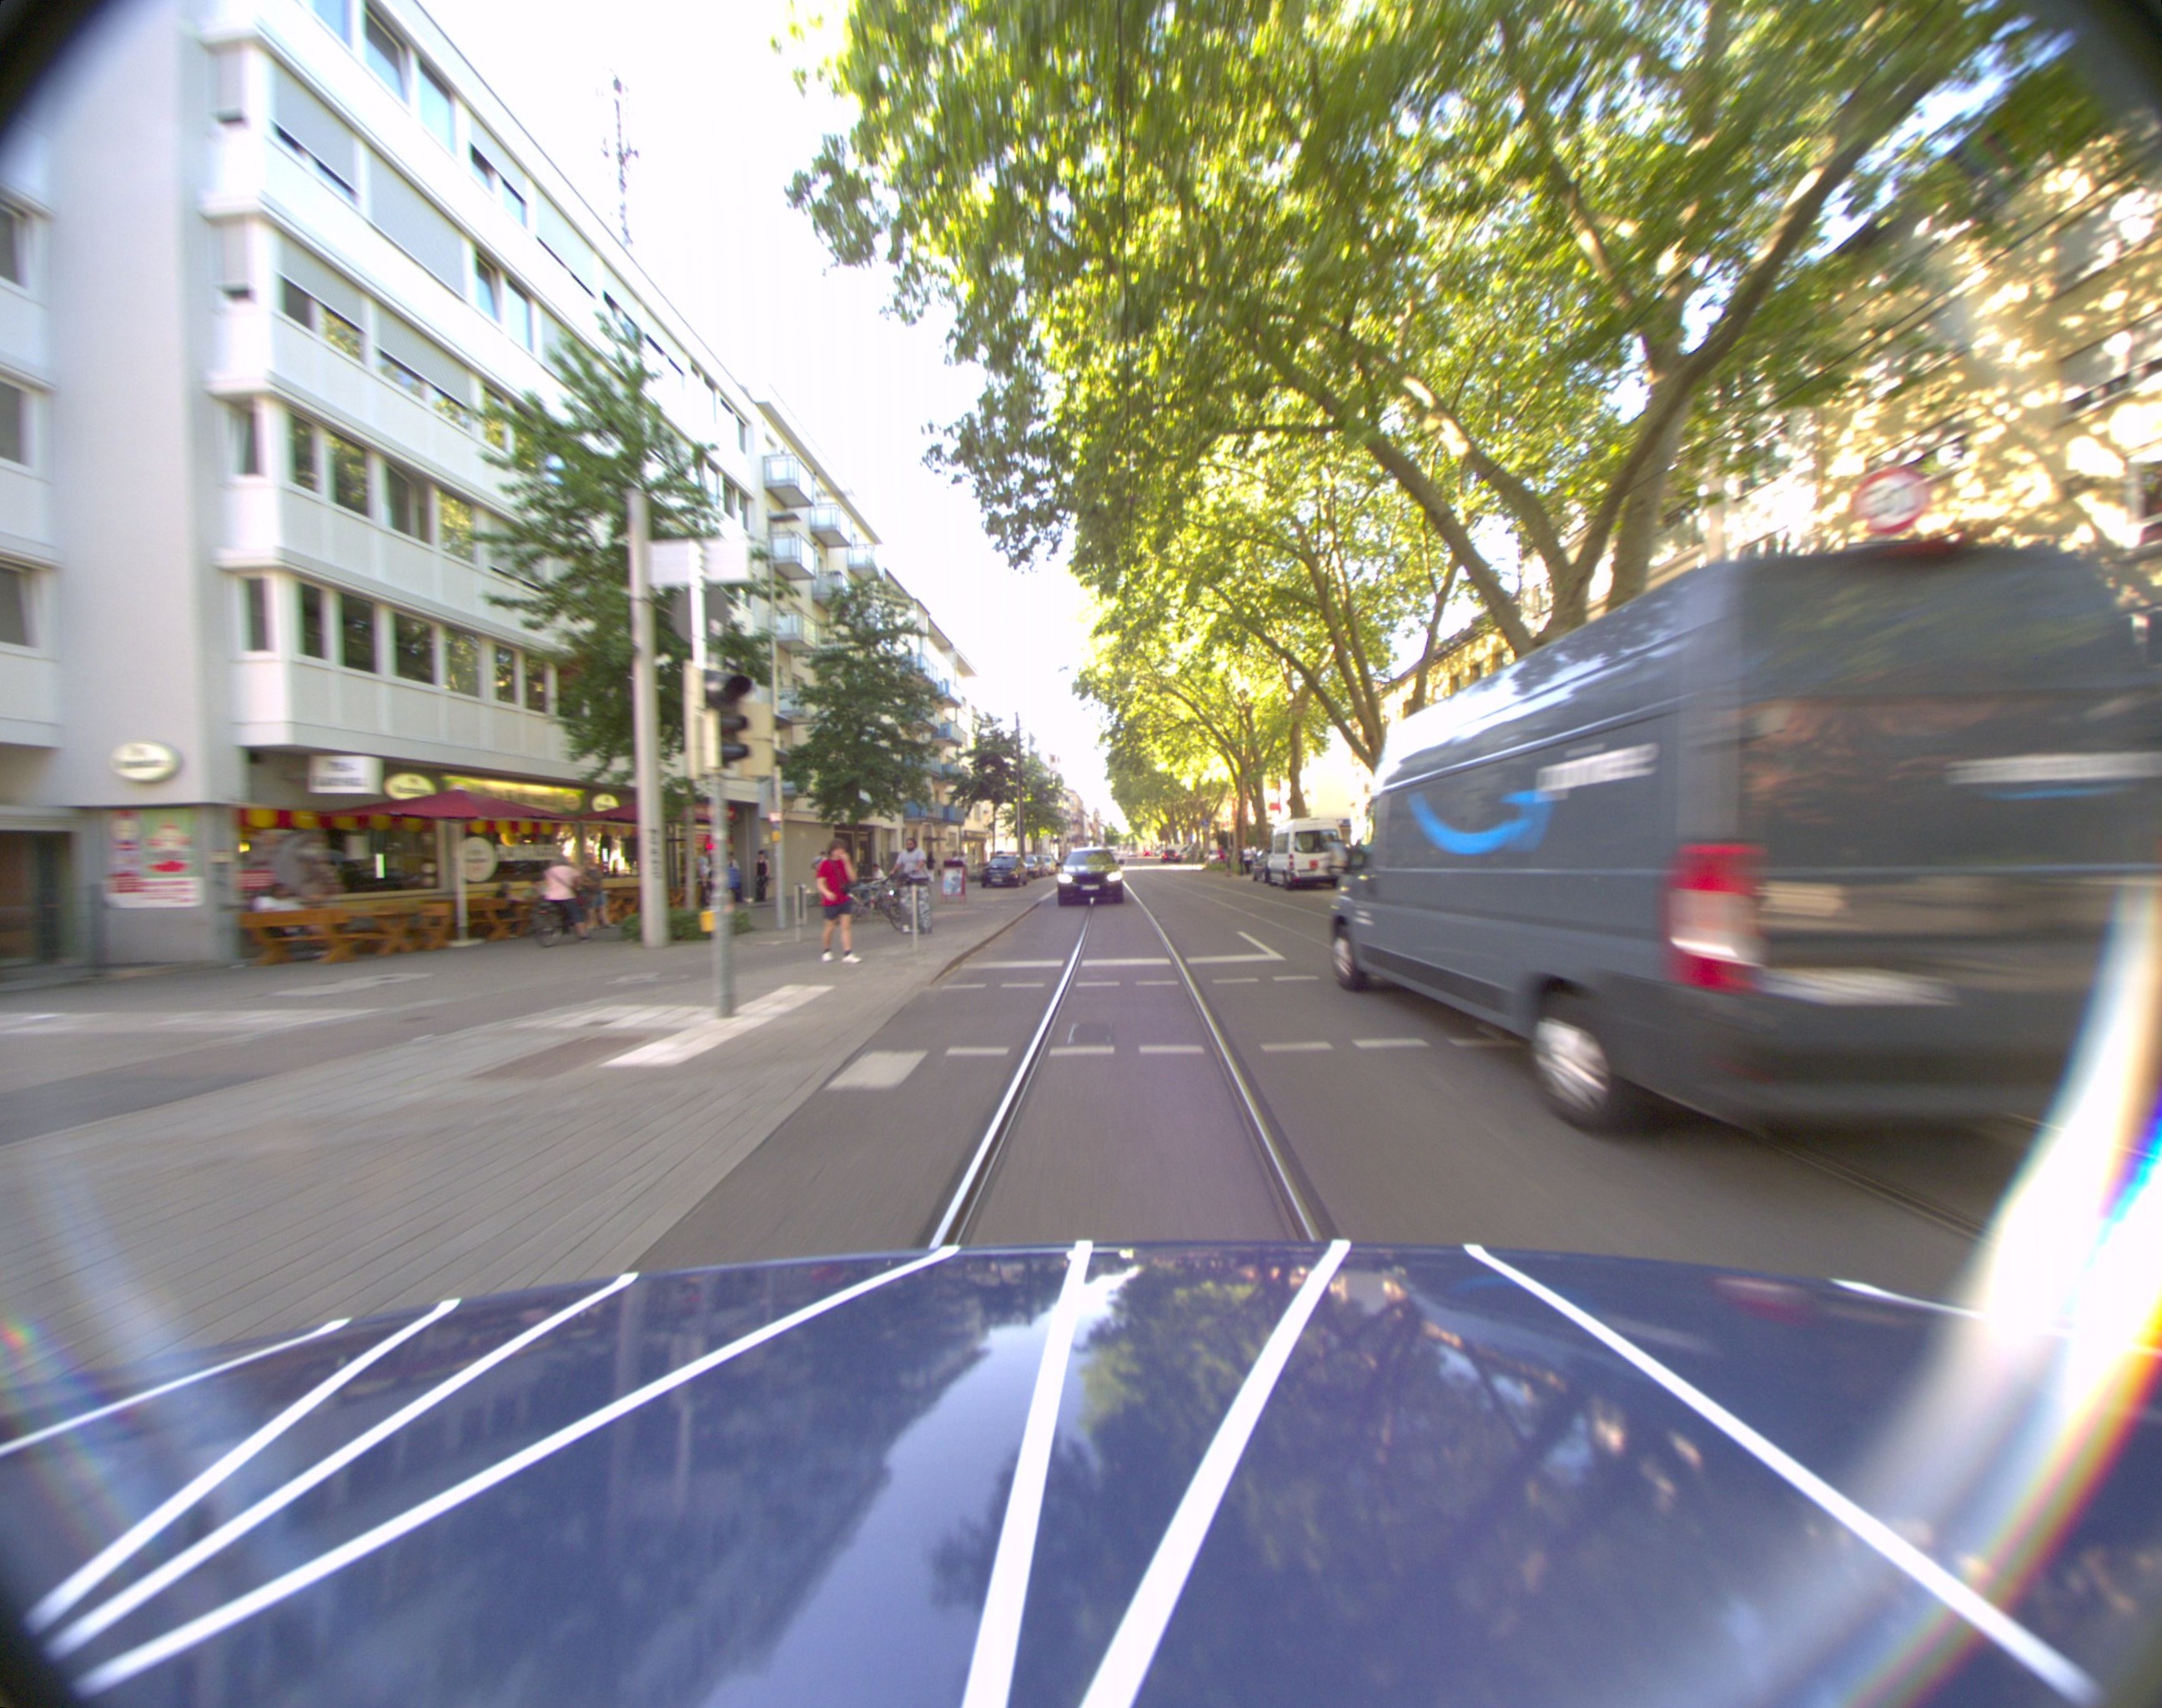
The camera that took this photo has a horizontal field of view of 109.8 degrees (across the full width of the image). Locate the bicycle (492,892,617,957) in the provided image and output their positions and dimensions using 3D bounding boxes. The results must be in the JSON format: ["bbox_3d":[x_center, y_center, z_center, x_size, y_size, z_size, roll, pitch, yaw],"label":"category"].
[{"bbox_3d":[-9.556,1.248,13.910,0.678,0.957,2.022,-2,1,6],"label":"bicycle"}]

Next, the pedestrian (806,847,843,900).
[{"bbox_3d":[-9.028,0.680,26.732,0.997,1.774,0.591,-4,2,-36],"label":"pedestrian"}]

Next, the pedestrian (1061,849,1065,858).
[{"bbox_3d":[-2.948,-0.057,126.865,0.590,1.493,0.600,-2,1,4],"label":"pedestrian"}]

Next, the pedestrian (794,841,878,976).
[{"bbox_3d":[-3.449,0.720,10.663,0.879,1.748,1.045,-3,2,-28],"label":"pedestrian"}]

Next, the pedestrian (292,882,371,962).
[{"bbox_3d":[-12.854,1.154,13.046,0.536,1.280,0.715,-2,1,5],"label":"pedestrian"}]

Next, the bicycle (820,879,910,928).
[{"bbox_3d":[-4.817,1.107,17.000,1.819,0.988,0.481,-2,1,1],"label":"bicycle"}]

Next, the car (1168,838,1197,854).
[{"bbox_3d":[16.980,-1.327,127.698,4.660,2.519,2.000,-2,1,4],"label":"car"}]

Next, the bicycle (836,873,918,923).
[{"bbox_3d":[-4.933,1.061,18.422,1.820,1.094,0.481,-3,1,-4],"label":"bicycle"}]

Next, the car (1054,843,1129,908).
[{"bbox_3d":[0.430,0.577,23.566,1.998,1.723,4.400,-2,1,4],"label":"car"}]

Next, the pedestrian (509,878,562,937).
[{"bbox_3d":[-11.454,1.120,15.968,0.660,1.168,0.522,-2,1,2],"label":"pedestrian"}]

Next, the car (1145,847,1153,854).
[{"bbox_3d":[17.748,-0.978,199.286,1.998,1.723,4.400,-3,1,4],"label":"car"}]

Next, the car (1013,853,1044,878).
[{"bbox_3d":[-3.326,0.716,48.655,1.626,1.473,3.889,1,1,1],"label":"car"}]

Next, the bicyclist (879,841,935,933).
[{"bbox_3d":[-3.622,0.665,15.922,0.769,1.821,1.099,-2,1,4],"label":"bicyclist"}]

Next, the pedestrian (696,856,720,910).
[{"bbox_3d":[-11.409,0.878,23.227,0.508,1.619,0.517,-3,2,-34],"label":"pedestrian"}]

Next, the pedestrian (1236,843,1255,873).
[{"bbox_3d":[9.743,0.224,44.952,0.715,1.725,0.768,-4,2,-45],"label":"pedestrian"}]

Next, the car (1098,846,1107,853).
[{"bbox_3d":[5.141,-1.153,181.113,1.867,1.499,4.000,-2,1,4],"label":"car"}]

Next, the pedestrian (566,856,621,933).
[{"bbox_3d":[-10.915,0.886,17.026,0.812,1.649,0.680,-2,2,33],"label":"pedestrian"}]

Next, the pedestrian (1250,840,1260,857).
[{"bbox_3d":[18.132,-0.593,79.264,0.723,1.770,0.669,-3,2,-6],"label":"pedestrian"}]

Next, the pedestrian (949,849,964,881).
[{"bbox_3d":[-7.276,0.616,44.483,0.663,1.841,0.539,-2,1,3],"label":"pedestrian"}]

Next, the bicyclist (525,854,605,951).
[{"bbox_3d":[-9.556,0.878,14.102,0.678,1.707,0.965,-2,1,6],"label":"bicyclist"}]

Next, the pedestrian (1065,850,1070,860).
[{"bbox_3d":[-2.157,0.154,125.624,0.697,1.685,0.678,-2,1,4],"label":"pedestrian"}]

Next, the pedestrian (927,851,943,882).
[{"bbox_3d":[-7.930,0.678,41.346,0.643,1.628,0.870,0,1,2],"label":"pedestrian"}]

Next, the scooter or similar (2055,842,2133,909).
[{"bbox_3d":[18.489,0.388,13.880,0.642,1.160,0.676,-2,2,30],"label":"scooter or similar"}]

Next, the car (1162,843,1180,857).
[{"bbox_3d":[11.266,-0.475,95.463,1.927,1.674,4.182,1,1,2],"label":"car"}]

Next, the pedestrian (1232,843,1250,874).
[{"bbox_3d":[9.301,0.272,44.114,0.769,1.767,0.715,-2,2,26],"label":"pedestrian"}]

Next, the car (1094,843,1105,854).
[{"bbox_3d":[3.975,-1.226,161.277,1.990,2.085,4.471,-2,1,4],"label":"car"}]

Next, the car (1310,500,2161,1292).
[{"bbox_3d":[3.549,0.109,5.673,2.118,2.722,6.115,-1,1,3],"label":"car"}]

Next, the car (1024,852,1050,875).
[{"bbox_3d":[-3.017,0.646,52.480,1.447,1.528,2.881,0,1,3],"label":"car"}]

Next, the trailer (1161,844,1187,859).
[{"bbox_3d":[10.992,-0.322,89.910,2.452,1.623,6.584,1,1,2],"label":"trailer"}]

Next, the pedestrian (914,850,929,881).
[{"bbox_3d":[-8.659,0.623,41.345,0.597,1.668,0.934,1,1,2],"label":"pedestrian"}]

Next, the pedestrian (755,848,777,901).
[{"bbox_3d":[-10.886,0.712,26.279,0.432,1.786,0.489,-2,2,3],"label":"pedestrian"}]

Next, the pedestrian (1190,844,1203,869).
[{"bbox_3d":[8.569,0.167,56.538,0.700,1.781,0.801,-3,1,-9],"label":"pedestrian"}]

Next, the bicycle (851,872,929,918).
[{"bbox_3d":[-4.860,1.041,19.367,1.819,1.094,0.525,-1,2,3],"label":"bicycle"}]

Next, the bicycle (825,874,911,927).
[{"bbox_3d":[-4.940,1.071,17.698,1.820,1.094,0.497,-3,1,-4],"label":"bicycle"}]

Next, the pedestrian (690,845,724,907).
[{"bbox_3d":[-12.046,0.711,24.480,0.507,1.943,0.793,-2,2,13],"label":"pedestrian"}]

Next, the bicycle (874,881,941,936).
[{"bbox_3d":[-3.604,1.109,15.922,0.790,0.932,1.939,-2,1,4],"label":"bicycle"}]

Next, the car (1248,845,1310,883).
[{"bbox_3d":[9.075,0.428,35.165,1.921,1.553,4.284,-2,1,3],"label":"car"}]

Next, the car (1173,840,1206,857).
[{"bbox_3d":[16.177,-0.821,113.003,4.660,2.293,2.000,-2,1,4],"label":"car"}]

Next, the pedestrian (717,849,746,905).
[{"bbox_3d":[-11.560,0.760,25.143,0.633,1.795,0.525,-4,2,-43],"label":"pedestrian"}]

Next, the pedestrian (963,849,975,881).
[{"bbox_3d":[-6.537,0.623,44.346,0.477,1.841,0.664,-2,1,1],"label":"pedestrian"}]

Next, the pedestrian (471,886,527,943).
[{"bbox_3d":[-11.564,1.194,15.114,0.643,1.073,0.522,-2,1,2],"label":"pedestrian"}]

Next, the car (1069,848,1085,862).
[{"bbox_3d":[-0.609,0.115,110.743,1.957,1.914,4.000,-2,1,4],"label":"car"}]

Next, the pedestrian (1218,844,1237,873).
[{"bbox_3d":[8.725,0.263,45.113,0.772,1.725,0.712,-3,2,-27],"label":"pedestrian"}]

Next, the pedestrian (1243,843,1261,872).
[{"bbox_3d":[10.237,0.200,45.471,0.718,1.725,0.768,-4,2,-45],"label":"pedestrian"}]

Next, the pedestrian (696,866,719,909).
[{"bbox_3d":[-11.460,1.015,23.314,0.510,1.269,0.625,-3,2,-33],"label":"pedestrian"}]

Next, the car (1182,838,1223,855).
[{"bbox_3d":[16.674,-1.032,104.349,5.133,1.984,1.999,-2,1,-1],"label":"car"}]

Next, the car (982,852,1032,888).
[{"bbox_3d":[-3.588,0.720,37.427,1.763,1.578,4.329,2,1,3],"label":"car"}]

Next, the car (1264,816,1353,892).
[{"bbox_3d":[8.635,-0.040,29.423,2.112,2.563,6.025,-2,1,6],"label":"car"}]

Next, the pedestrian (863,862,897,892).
[{"bbox_3d":[-7.152,0.806,27.047,1.003,1.021,0.659,-3,2,-31],"label":"pedestrian"}]

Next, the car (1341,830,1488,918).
[{"bbox_3d":[7.958,0.400,18.588,1.767,1.840,4.318,-2,1,2],"label":"car"}]

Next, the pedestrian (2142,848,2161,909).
[{"bbox_3d":[18.911,0.422,12.983,0.579,1.041,0.711,-2,1,2],"label":"pedestrian"}]

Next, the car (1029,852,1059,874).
[{"bbox_3d":[-2.686,0.619,56.462,1.790,1.528,4.128,1,1,3],"label":"car"}]
